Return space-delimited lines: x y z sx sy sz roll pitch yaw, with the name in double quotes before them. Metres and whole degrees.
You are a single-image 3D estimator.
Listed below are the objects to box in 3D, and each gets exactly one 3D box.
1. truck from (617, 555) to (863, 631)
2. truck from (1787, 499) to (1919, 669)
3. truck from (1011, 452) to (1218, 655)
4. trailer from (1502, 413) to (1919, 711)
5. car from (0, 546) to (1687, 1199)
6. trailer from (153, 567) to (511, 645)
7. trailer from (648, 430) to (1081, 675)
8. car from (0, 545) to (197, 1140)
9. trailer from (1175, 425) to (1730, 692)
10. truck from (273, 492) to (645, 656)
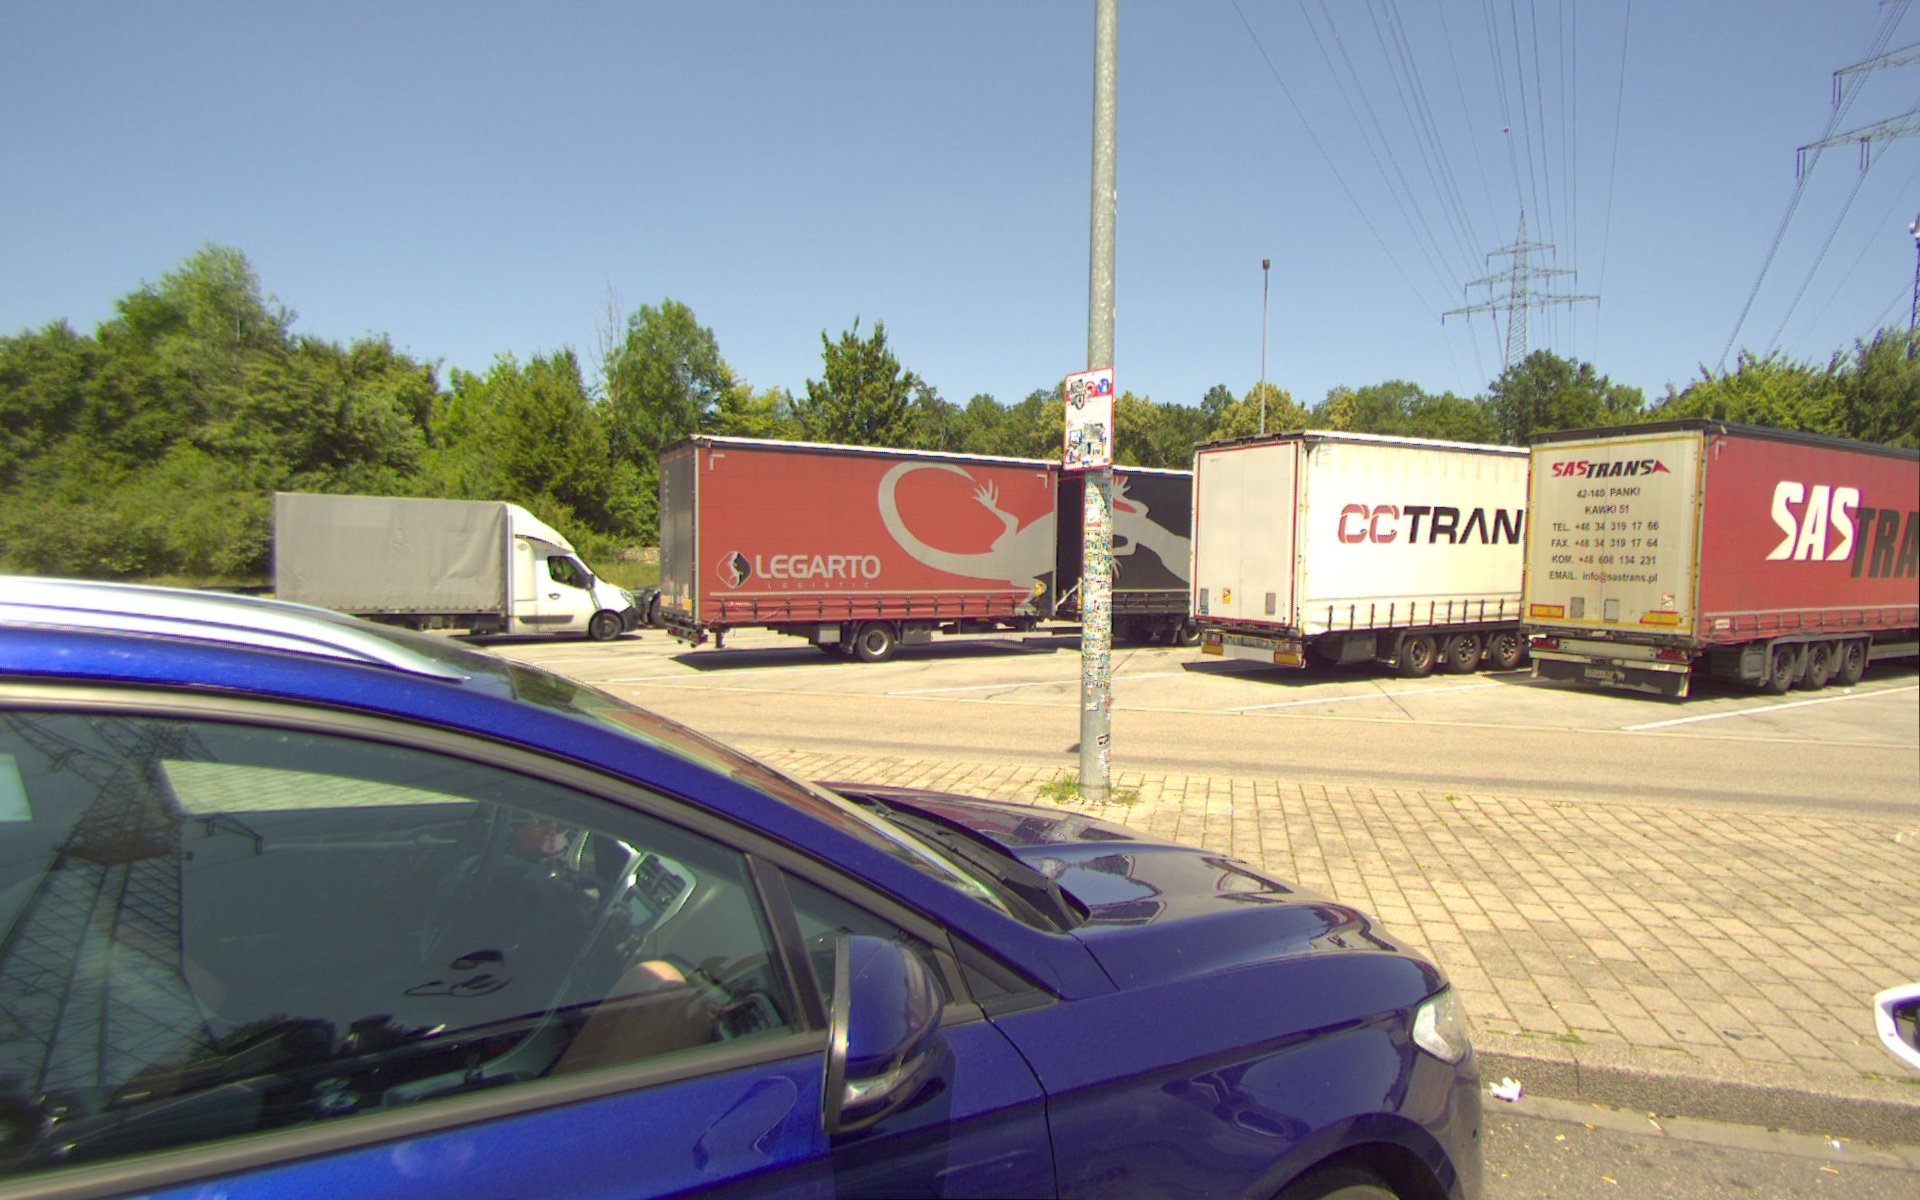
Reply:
"truck" -6.341 -0.225 29.281 6.733 2.041 1.987 -1 1 -26
"truck" 21.215 -0.388 22.008 5.829 3.373 2.837 -1 3 -30
"truck" 3.575 -1.061 23.457 3.947 4.298 2.723 -1 3 -30
"trailer" 15.612 -0.687 18.731 13.962 4.141 2.777 -1 3 -30
"car" -1.031 0.683 1.500 4.444 1.511 1.859 0 2 -32
"trailer" -15.159 0.061 24.902 7.204 1.711 2.249 -1 3 -29
"trailer" -1.738 -0.895 20.336 8.376 4.141 2.722 -1 3 -30
"car" -4.608 0.606 2.233 4.444 1.520 1.762 0 2 -32
"trailer" 10.592 -0.795 20.343 13.962 4.141 2.782 -1 3 -30
"truck" -11.184 -0.619 23.032 7.204 3.279 2.727 -1 3 -29
